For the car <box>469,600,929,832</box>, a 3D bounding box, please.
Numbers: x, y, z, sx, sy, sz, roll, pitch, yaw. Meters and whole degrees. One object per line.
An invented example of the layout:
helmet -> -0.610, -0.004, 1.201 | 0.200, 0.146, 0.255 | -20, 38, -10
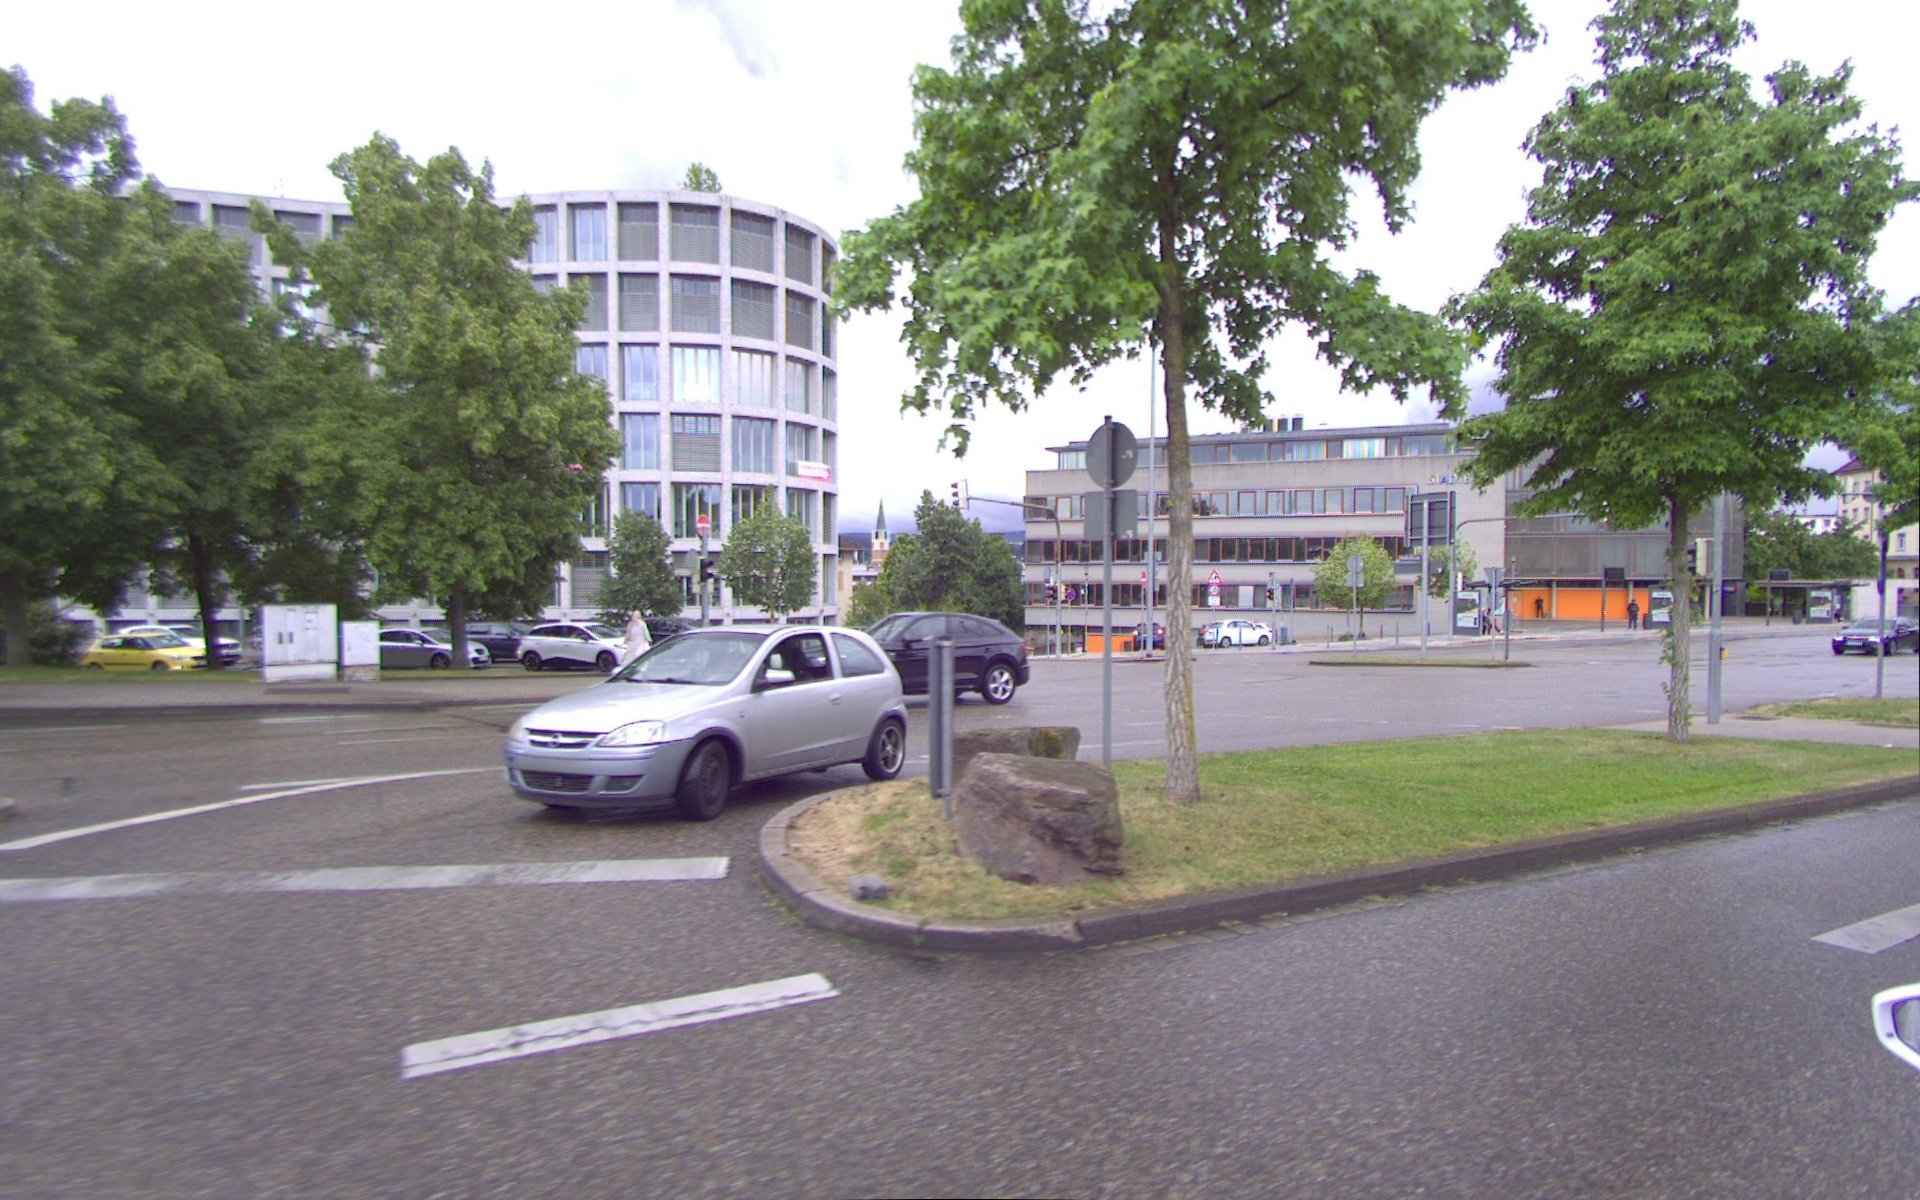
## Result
car -> -1.882, 0.778, 8.453 | 1.607, 1.467, 3.872 | 0, -1, 26

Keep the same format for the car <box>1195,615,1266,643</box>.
car -> 15.212, 1.600, 56.540 | 3.522, 1.515, 1.628 | 0, 0, -15

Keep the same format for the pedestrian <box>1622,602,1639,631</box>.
pedestrian -> 38.818, 0.959, 58.136 | 0.752, 1.706, 0.473 | 0, 0, -23

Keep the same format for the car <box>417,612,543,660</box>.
car -> -17.040, 1.250, 35.721 | 3.760, 1.589, 1.729 | 0, 0, 13

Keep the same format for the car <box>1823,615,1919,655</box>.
car -> 37.074, 1.375, 40.533 | 4.859, 1.524, 1.839 | 0, 0, -29

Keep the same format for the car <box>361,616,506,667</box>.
car -> -17.103, 1.332, 32.692 | 3.973, 1.528, 1.729 | 0, 0, 11

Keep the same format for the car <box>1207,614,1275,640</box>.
car -> 16.609, 1.589, 59.514 | 3.711, 1.515, 1.767 | 0, 0, 9

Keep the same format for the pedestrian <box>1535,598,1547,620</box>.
pedestrian -> 44.944, 0.717, 77.675 | 0.630, 1.706, 0.475 | 0, 0, 1

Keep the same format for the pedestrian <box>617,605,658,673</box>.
pedestrian -> -7.725, 0.935, 24.091 | 0.619, 1.590, 0.652 | 0, -2, 29

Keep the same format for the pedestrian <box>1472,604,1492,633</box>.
pedestrian -> 26.972, 0.952, 51.874 | 0.619, 1.488, 0.674 | 0, 0, -32

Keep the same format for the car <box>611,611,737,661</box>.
car -> -9.748, 1.192, 34.311 | 3.760, 1.589, 1.729 | 0, 0, 13

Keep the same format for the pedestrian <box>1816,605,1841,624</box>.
pedestrian -> 61.268, 1.000, 70.856 | 0.834, 1.285, 0.977 | 0, 4, -9

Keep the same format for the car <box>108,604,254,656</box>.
car -> -29.210, 1.106, 37.729 | 4.340, 1.842, 1.729 | 0, 0, 6

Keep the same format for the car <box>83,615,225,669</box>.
car -> -27.204, 1.383, 33.972 | 3.577, 1.721, 1.729 | 0, 0, 7

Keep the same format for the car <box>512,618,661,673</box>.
car -> -11.747, 1.394, 31.702 | 4.058, 1.589, 1.888 | 0, 0, 15

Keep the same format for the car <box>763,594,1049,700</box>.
car -> -0.900, 0.877, 18.107 | 4.808, 1.684, 1.897 | 4, -1, -34

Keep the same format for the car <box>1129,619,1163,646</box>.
car -> 10.195, 1.764, 55.164 | 1.453, 1.369, 3.584 | 1, 0, 5

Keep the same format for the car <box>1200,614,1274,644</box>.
car -> 14.886, 1.536, 54.008 | 3.522, 1.515, 1.628 | 0, 0, -15

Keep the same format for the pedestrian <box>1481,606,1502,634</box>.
pedestrian -> 27.702, 1.044, 52.333 | 0.713, 1.411, 0.674 | 0, 0, -32
